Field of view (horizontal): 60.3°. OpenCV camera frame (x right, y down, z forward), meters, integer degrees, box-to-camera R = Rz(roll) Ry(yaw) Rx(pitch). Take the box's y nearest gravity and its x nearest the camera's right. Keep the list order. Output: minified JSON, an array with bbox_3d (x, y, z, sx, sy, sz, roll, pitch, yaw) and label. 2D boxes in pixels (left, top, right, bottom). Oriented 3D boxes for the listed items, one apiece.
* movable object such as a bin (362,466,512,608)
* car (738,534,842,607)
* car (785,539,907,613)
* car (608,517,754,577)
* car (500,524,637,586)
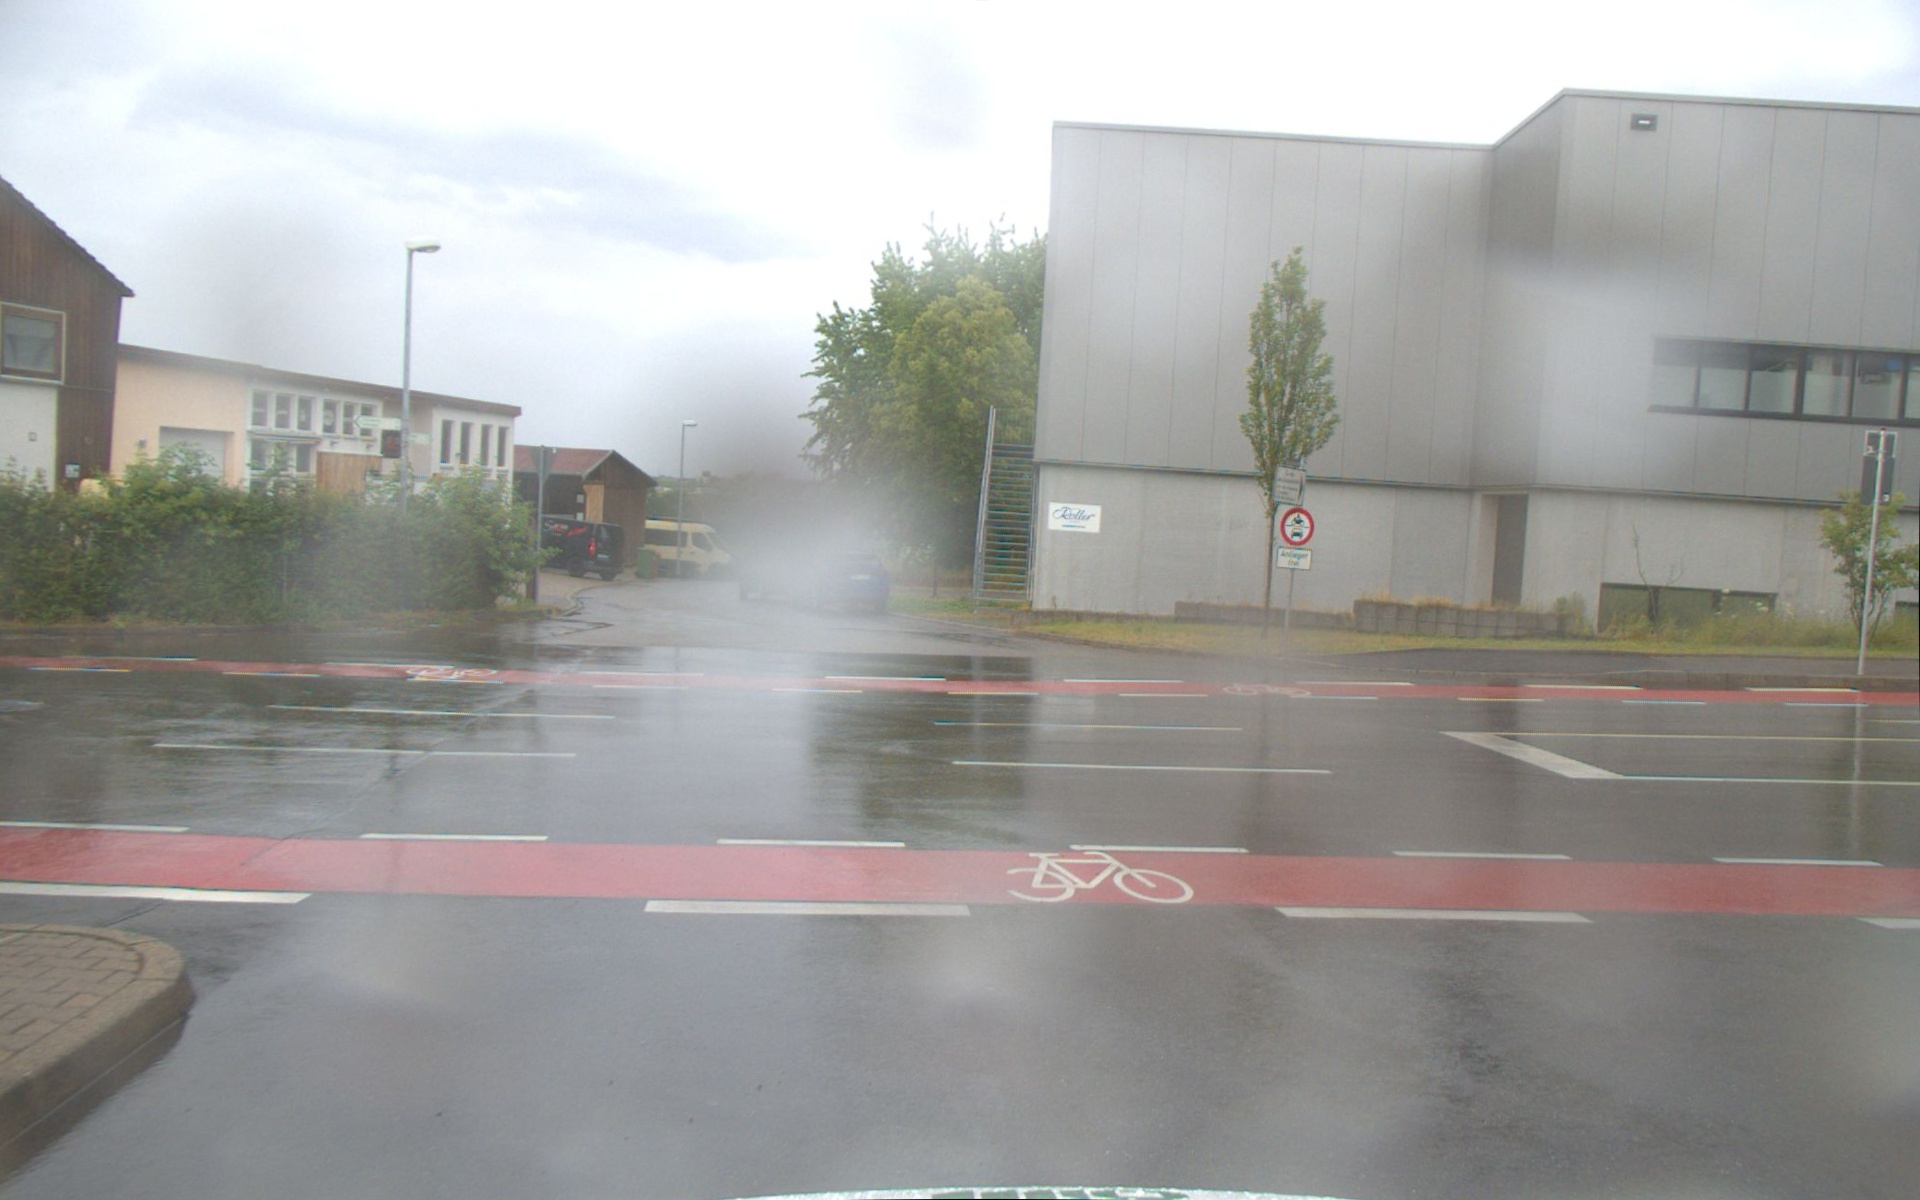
[{"bbox_3d":[-10.193,-1.202,32.468,1.697,2.601,3.341,2,1,2],"label":"movable object such as a bin"},{"bbox_3d":[-4.766,-0.833,45.771,2.041,1.866,4.451,2,1,-16],"label":"car"},{"bbox_3d":[-2.823,-0.606,39.856,1.921,1.638,4.425,2,1,-18],"label":"car"},{"bbox_3d":[-12.393,-2.358,73.664,5.881,2.457,2.465,2,1,8],"label":"car"},{"bbox_3d":[-13.209,-1.513,55.763,4.315,1.938,1.996,2,1,30],"label":"car"}]
